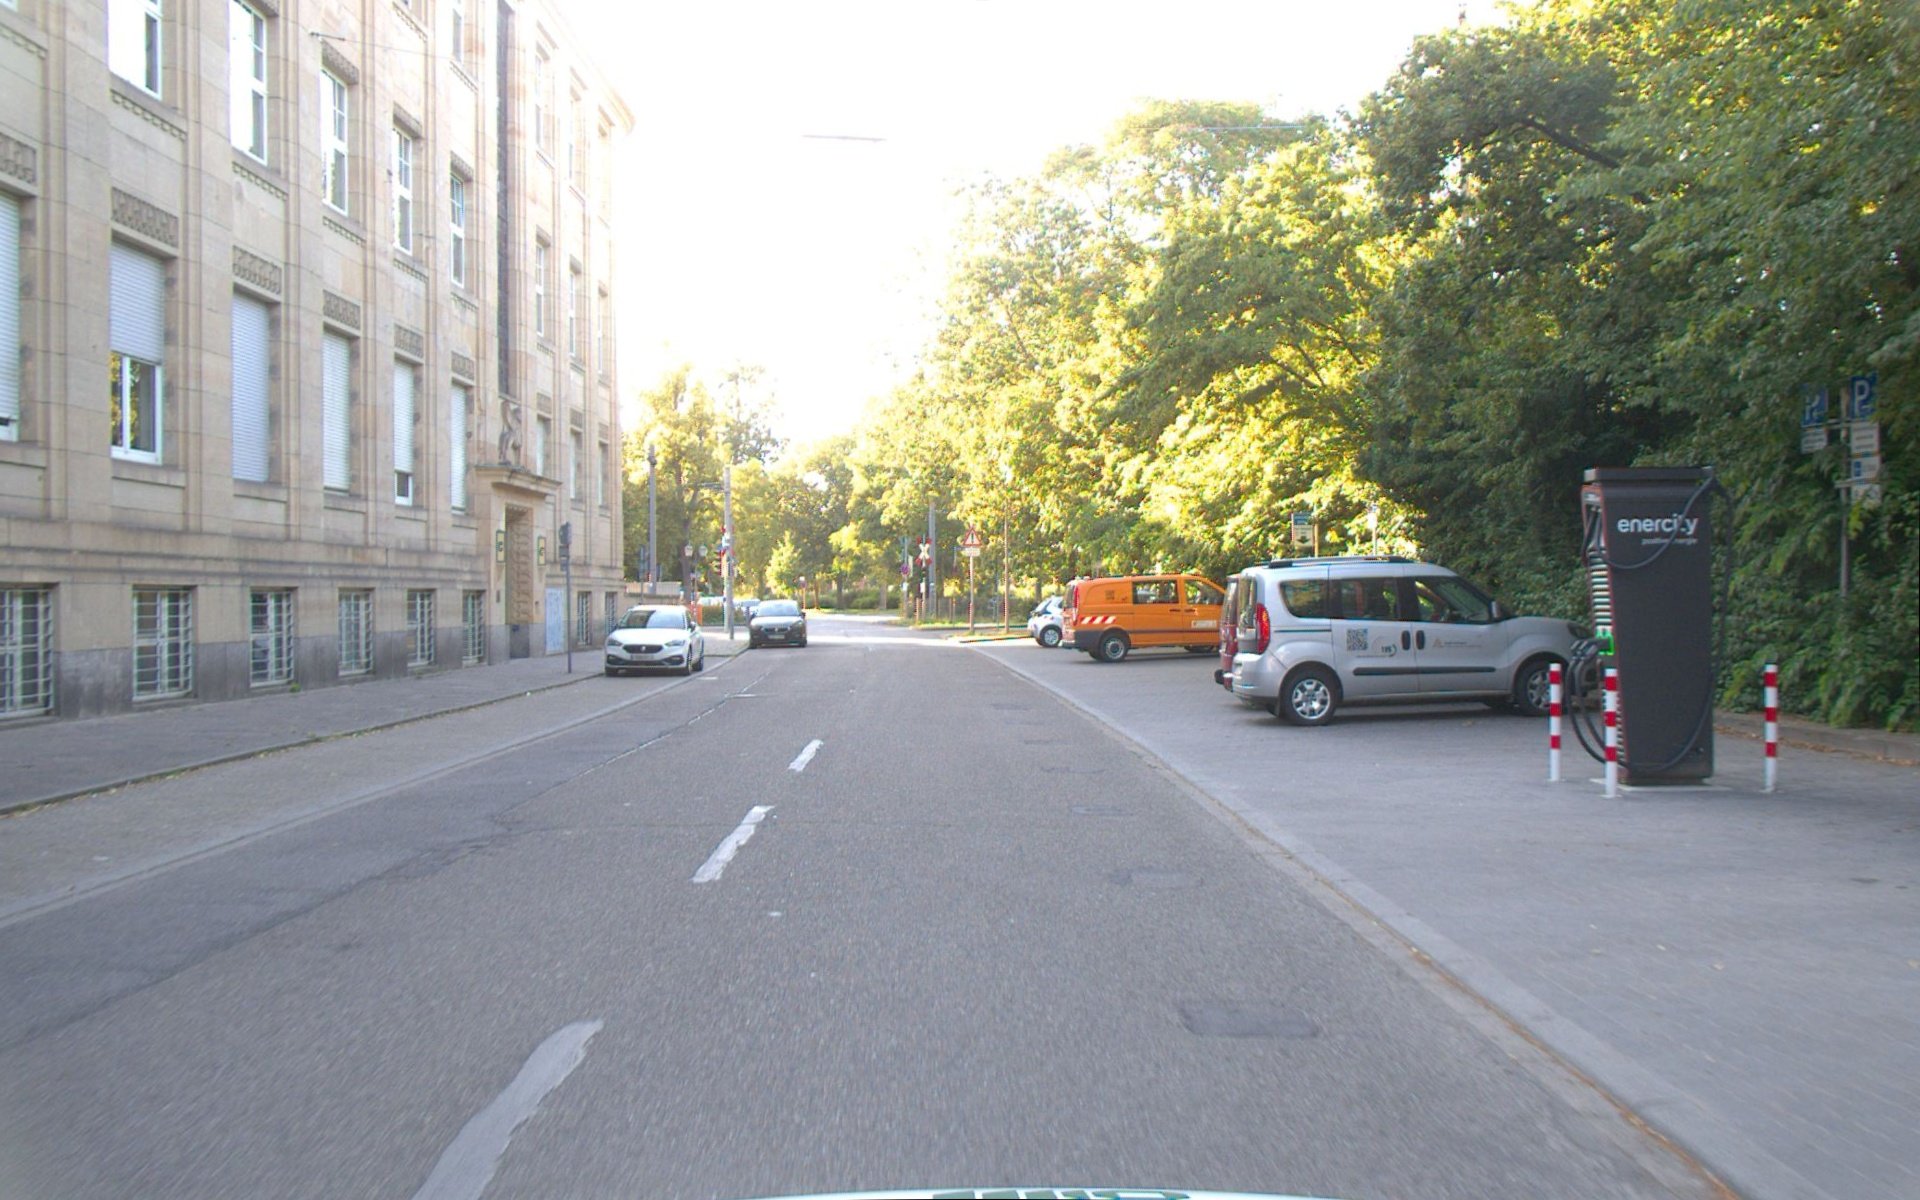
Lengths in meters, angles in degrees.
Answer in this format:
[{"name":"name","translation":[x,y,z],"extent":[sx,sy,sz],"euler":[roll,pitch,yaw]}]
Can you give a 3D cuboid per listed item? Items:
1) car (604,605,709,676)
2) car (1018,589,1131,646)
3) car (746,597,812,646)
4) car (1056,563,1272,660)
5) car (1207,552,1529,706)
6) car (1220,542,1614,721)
[{"name":"car","translation":[-6.500,0.823,35.801],"extent":[1.693,1.421,4.370],"euler":[0,0,-3]},{"name":"car","translation":[3.423,0.517,49.719],"extent":[3.084,1.529,1.538],"euler":[-3,0,-7]},{"name":"car","translation":[-5.775,0.658,53.183],"extent":[1.841,1.492,4.370],"euler":[0,0,-3]},{"name":"car","translation":[4.809,0.254,39.242],"extent":[4.727,2.049,1.799],"euler":[-3,0,-7]},{"name":"car","translation":[5.478,0.378,22.518],"extent":[3.941,1.868,1.614],"euler":[-2,0,0]},{"name":"car","translation":[5.371,0.369,19.891],"extent":[4.142,1.892,2.000],"euler":[-2,-1,0]}]
